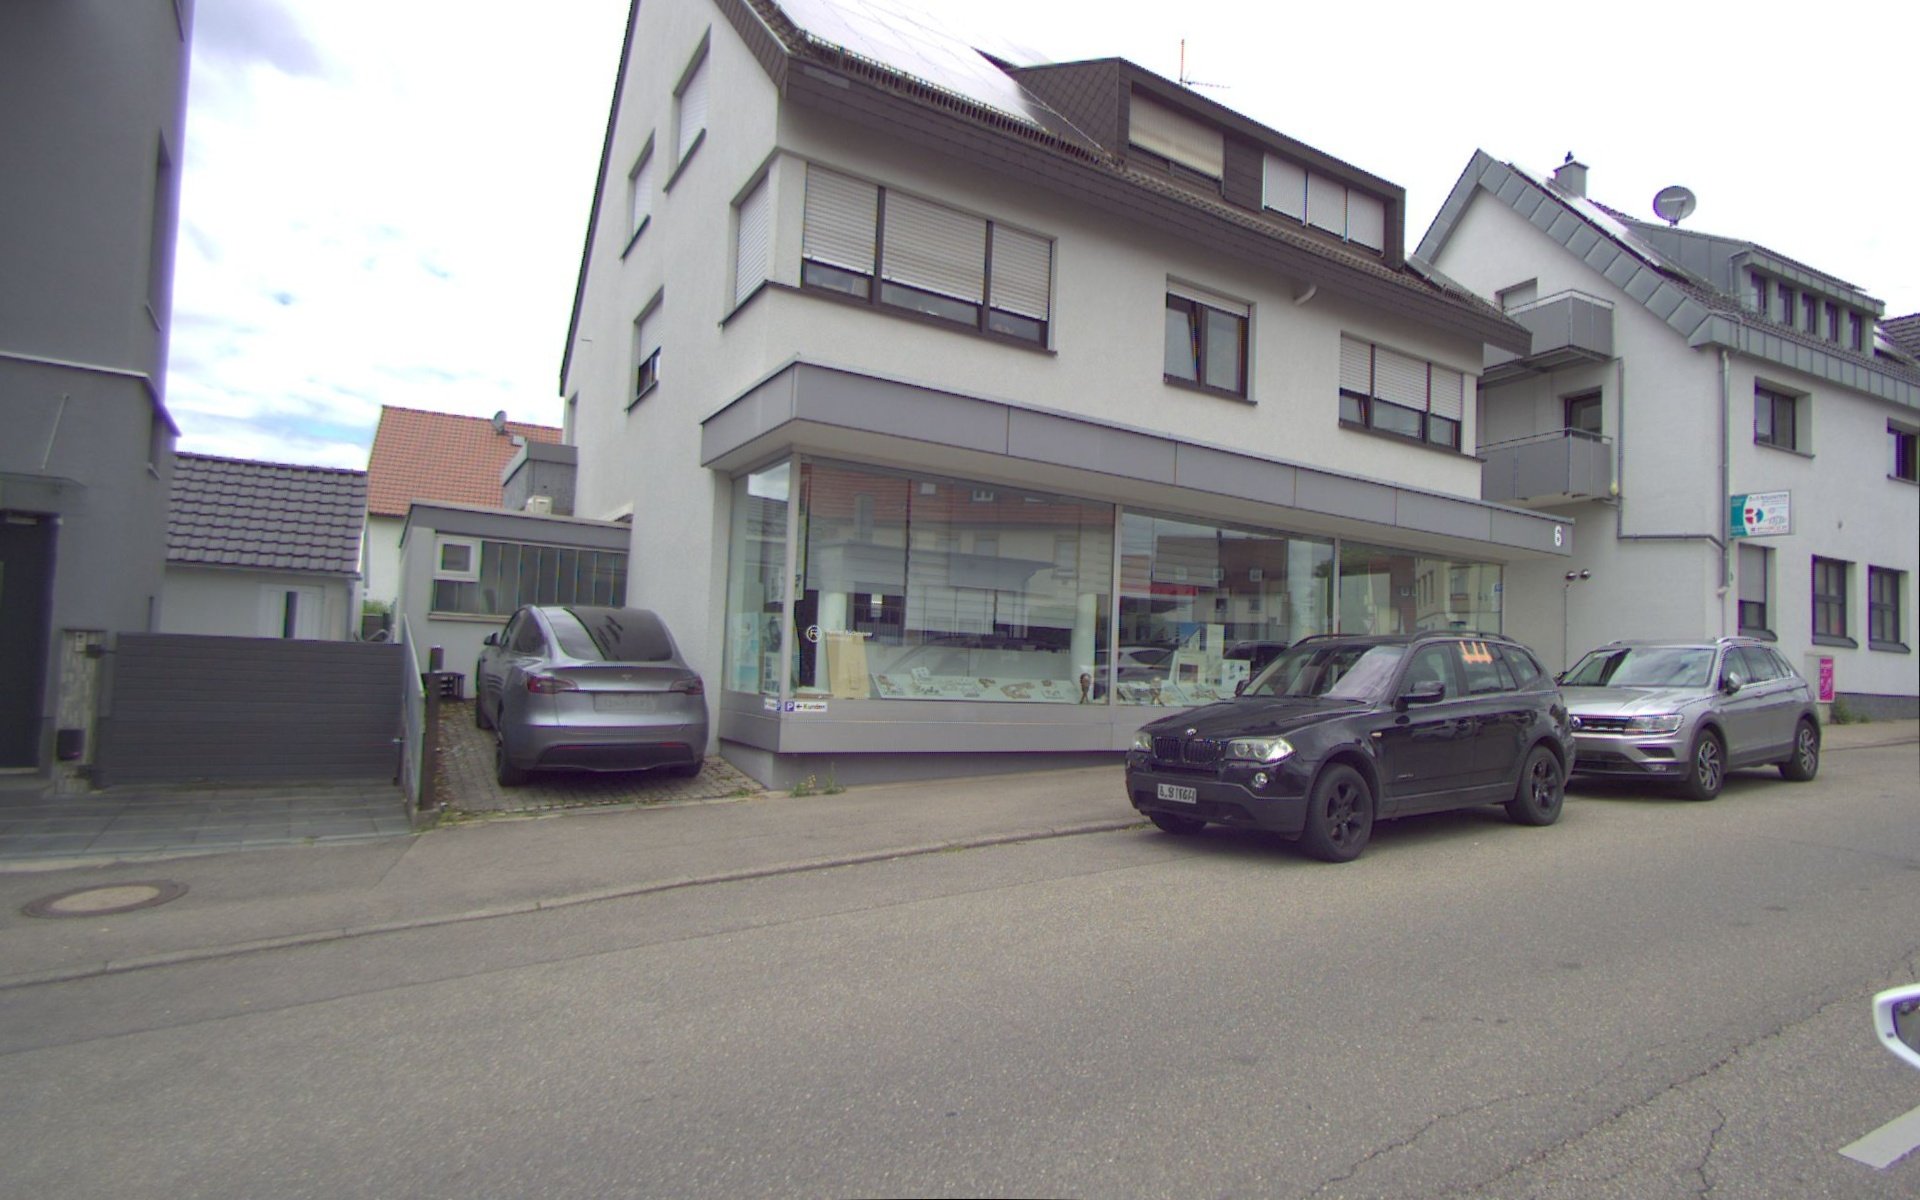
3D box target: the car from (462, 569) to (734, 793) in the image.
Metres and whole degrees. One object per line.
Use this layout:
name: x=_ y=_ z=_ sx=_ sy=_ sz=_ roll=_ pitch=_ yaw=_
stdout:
car: x=-4.002 y=0.792 z=10.681 sx=1.977 sy=1.880 sz=3.968 roll=2 pitch=-3 yaw=-31

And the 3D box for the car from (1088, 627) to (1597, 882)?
car: x=3.347 y=1.114 z=8.532 sx=4.362 sy=1.654 sz=1.827 roll=2 pitch=-4 yaw=-33

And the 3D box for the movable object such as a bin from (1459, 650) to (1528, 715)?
movable object such as a bin: x=11.507 y=1.765 z=21.666 sx=1.133 sy=1.317 sz=0.778 roll=2 pitch=0 yaw=-27

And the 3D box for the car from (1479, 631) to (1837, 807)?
car: x=8.020 y=1.224 z=11.439 sx=4.362 sy=1.654 sz=1.827 roll=2 pitch=-4 yaw=-33
